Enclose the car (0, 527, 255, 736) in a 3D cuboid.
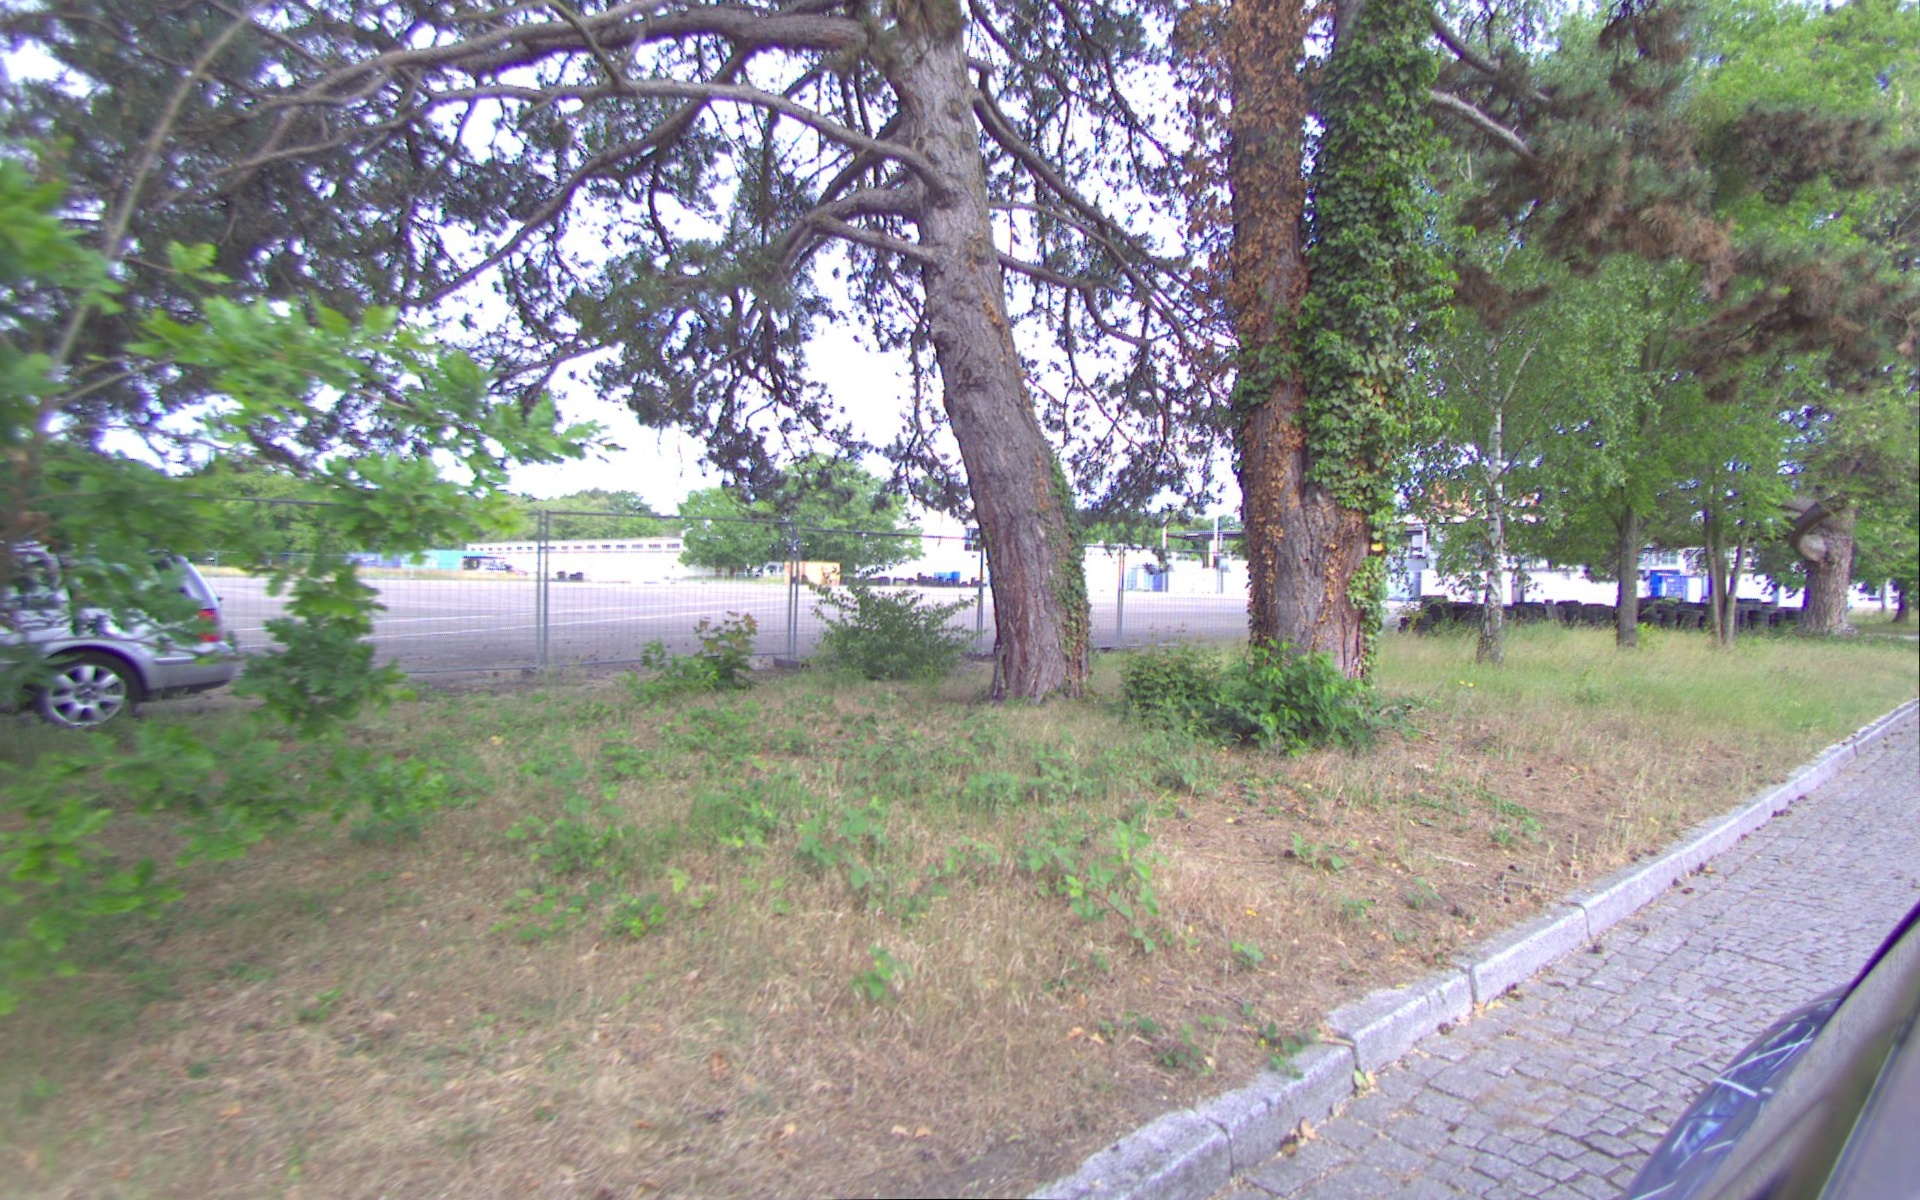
[{"bbox_3d":[-7.853,0.204,7.245,4.415,1.469,1.675,0,2,-44],"label":"car"}]
